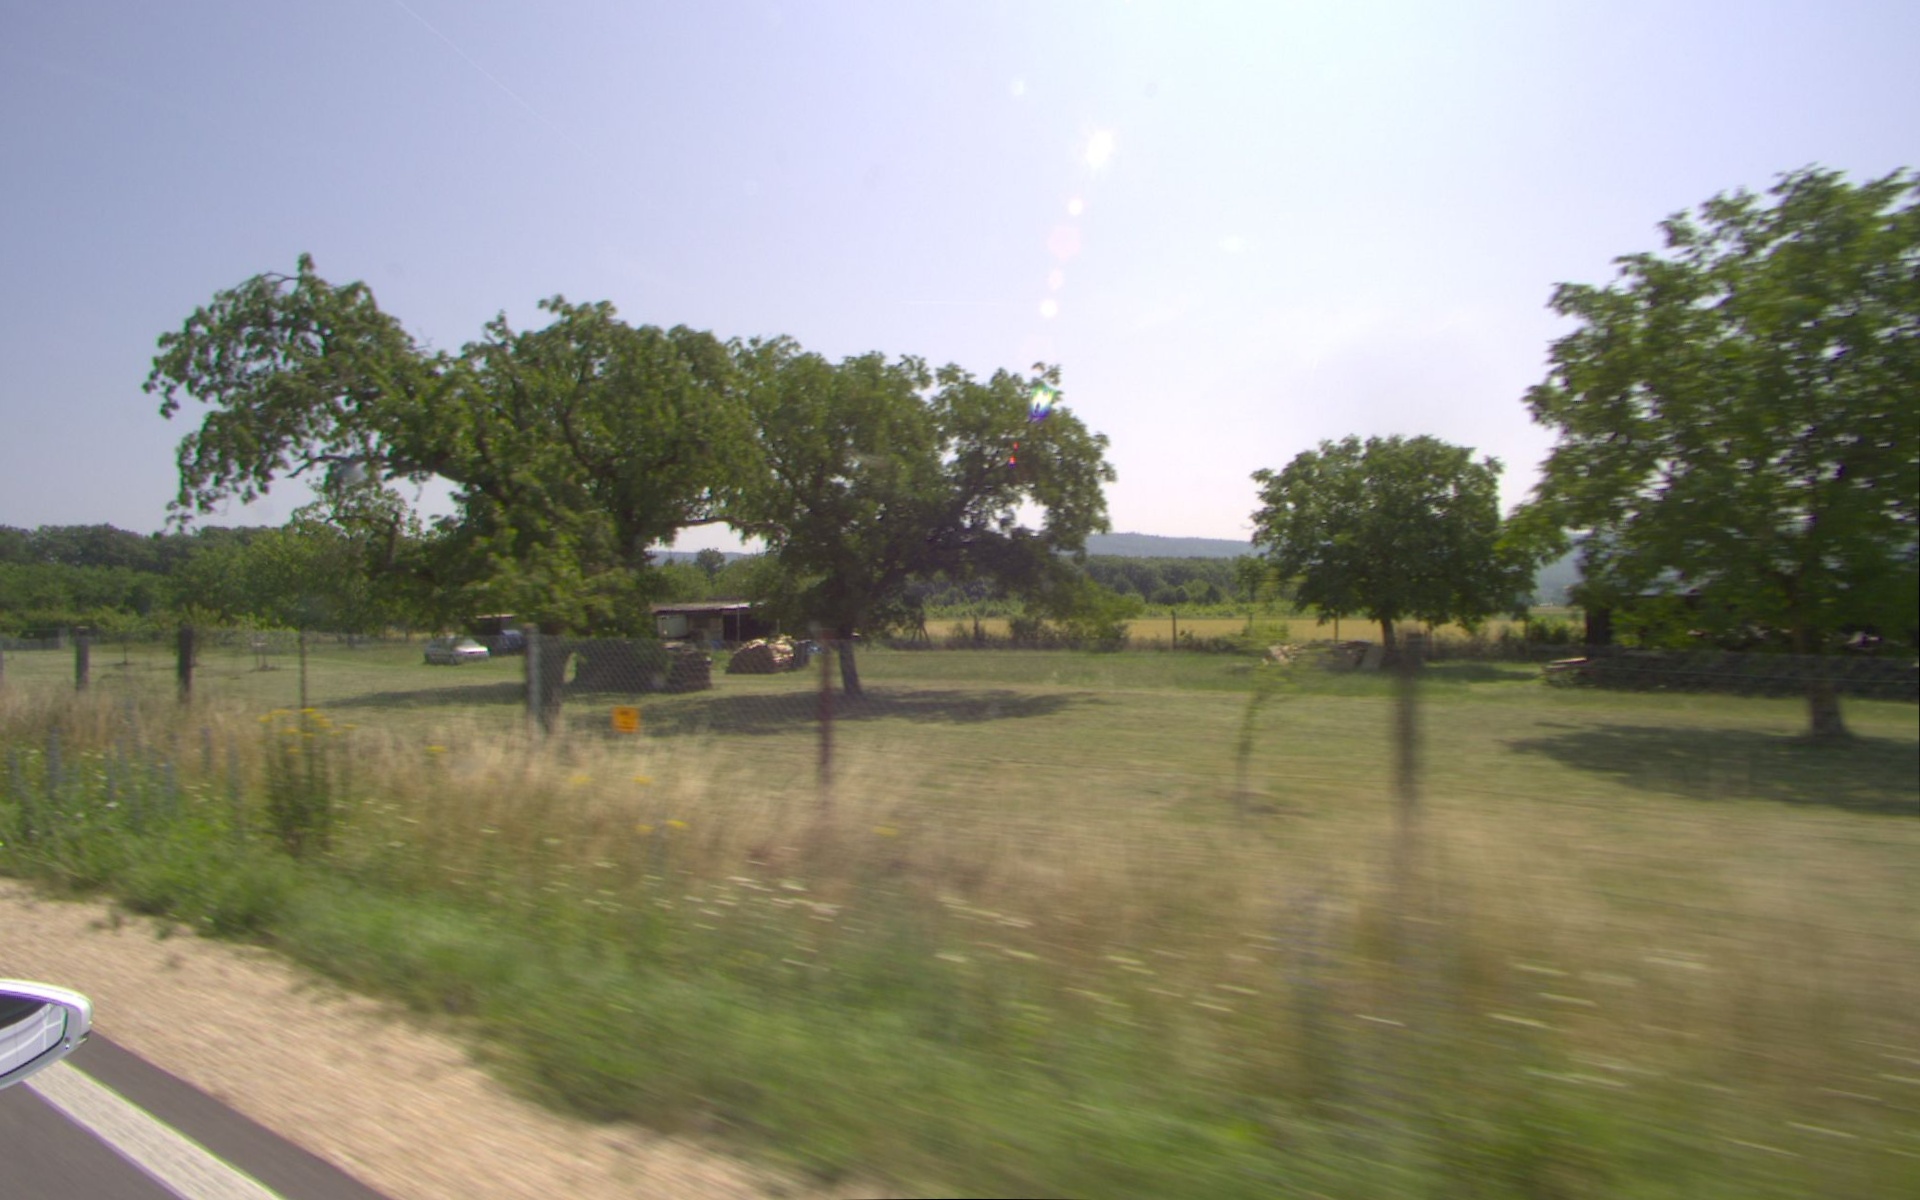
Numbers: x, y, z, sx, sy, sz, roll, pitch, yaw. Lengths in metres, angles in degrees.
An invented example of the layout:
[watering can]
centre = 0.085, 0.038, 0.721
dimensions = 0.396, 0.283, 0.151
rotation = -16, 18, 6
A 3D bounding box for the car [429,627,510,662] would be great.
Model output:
[car]
centre = -22.659, 2.009, 46.249
dimensions = 3.371, 1.505, 1.593
rotation = 0, 0, 25
